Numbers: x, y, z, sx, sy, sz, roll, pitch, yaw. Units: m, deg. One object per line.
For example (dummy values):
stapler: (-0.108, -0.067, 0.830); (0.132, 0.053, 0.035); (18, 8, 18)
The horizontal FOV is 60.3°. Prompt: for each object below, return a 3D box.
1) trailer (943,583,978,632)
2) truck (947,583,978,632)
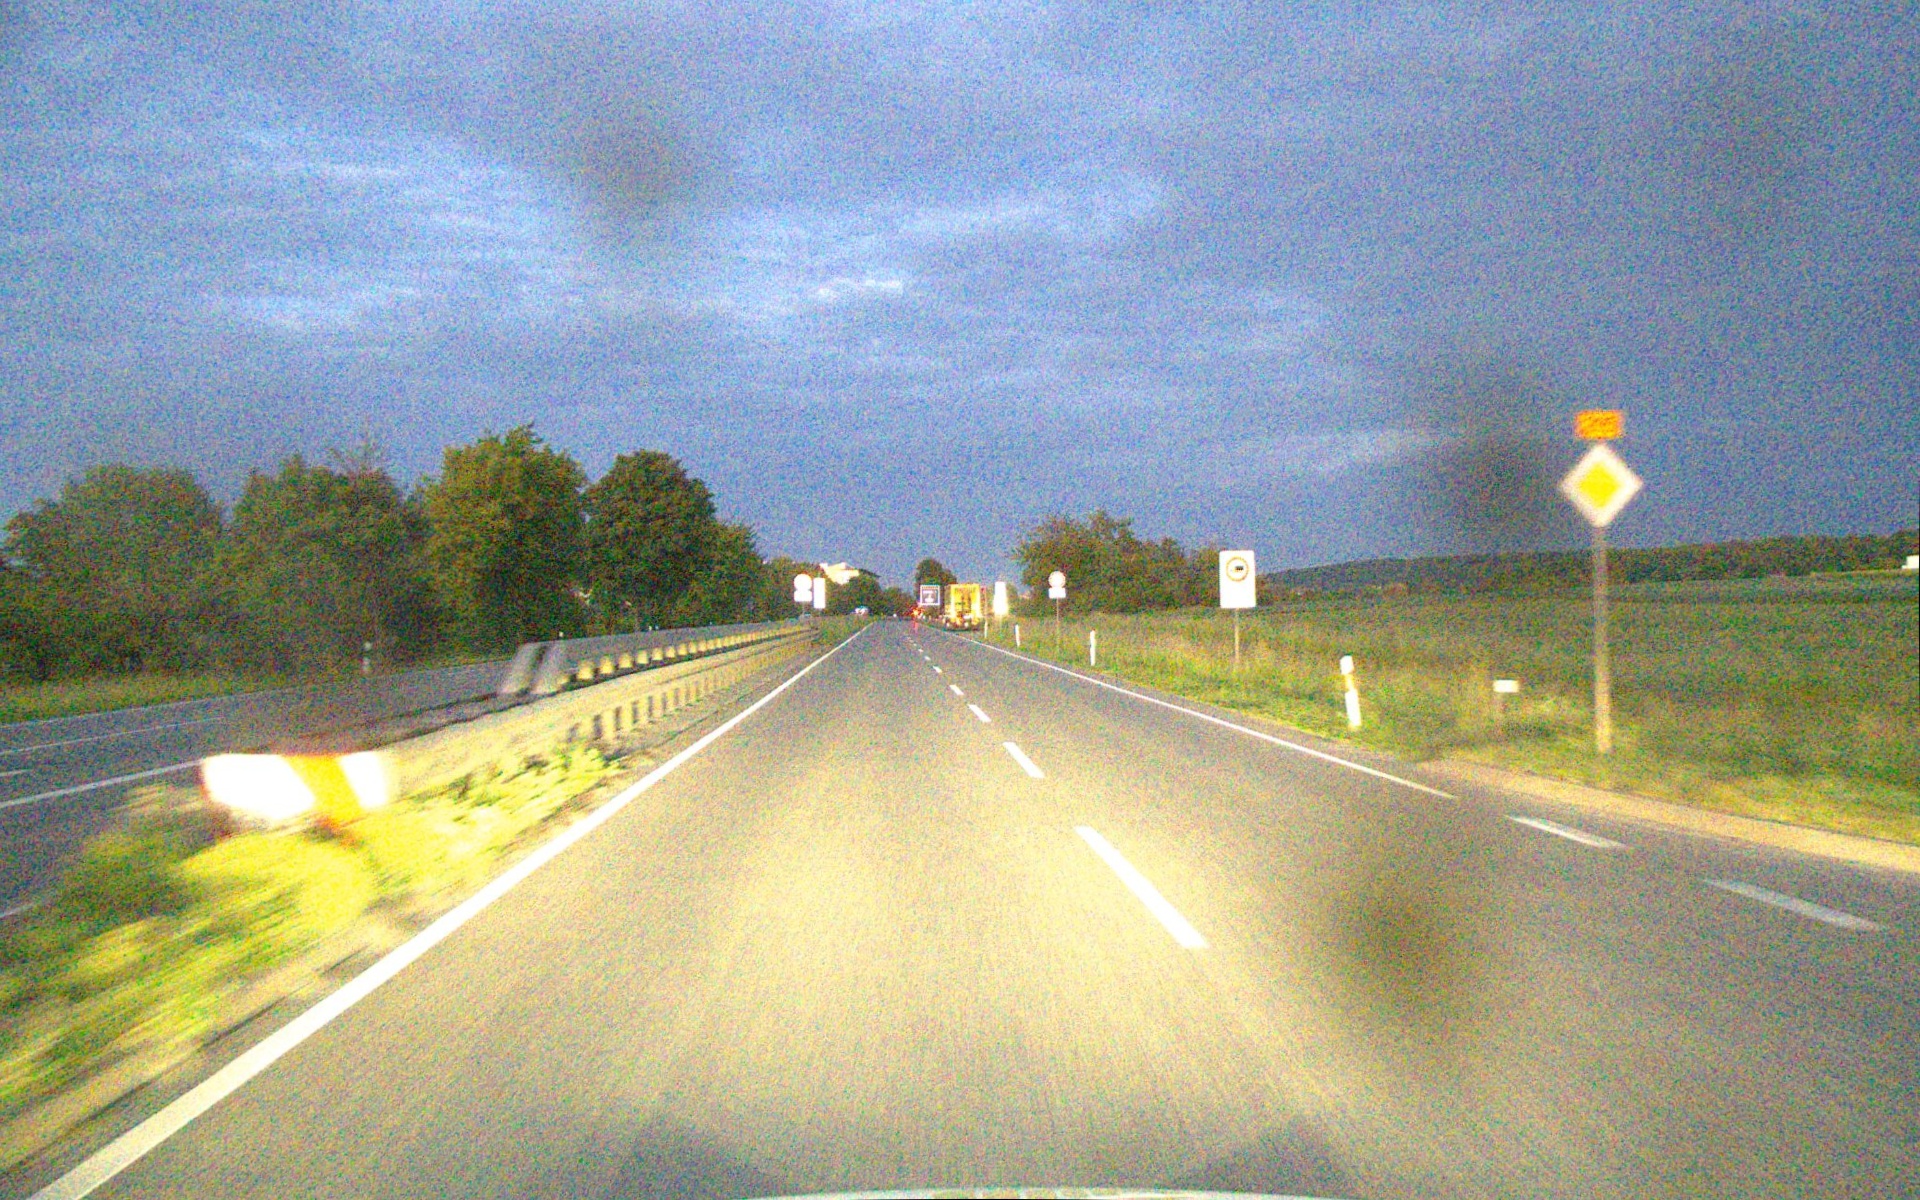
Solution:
trailer: (-0.027, 0.697, 150.278); (2.569, 4.176, 12.929); (-1, 0, -3)
truck: (0.183, 0.623, 144.306); (2.527, 4.142, 6.127); (1, 0, -2)
